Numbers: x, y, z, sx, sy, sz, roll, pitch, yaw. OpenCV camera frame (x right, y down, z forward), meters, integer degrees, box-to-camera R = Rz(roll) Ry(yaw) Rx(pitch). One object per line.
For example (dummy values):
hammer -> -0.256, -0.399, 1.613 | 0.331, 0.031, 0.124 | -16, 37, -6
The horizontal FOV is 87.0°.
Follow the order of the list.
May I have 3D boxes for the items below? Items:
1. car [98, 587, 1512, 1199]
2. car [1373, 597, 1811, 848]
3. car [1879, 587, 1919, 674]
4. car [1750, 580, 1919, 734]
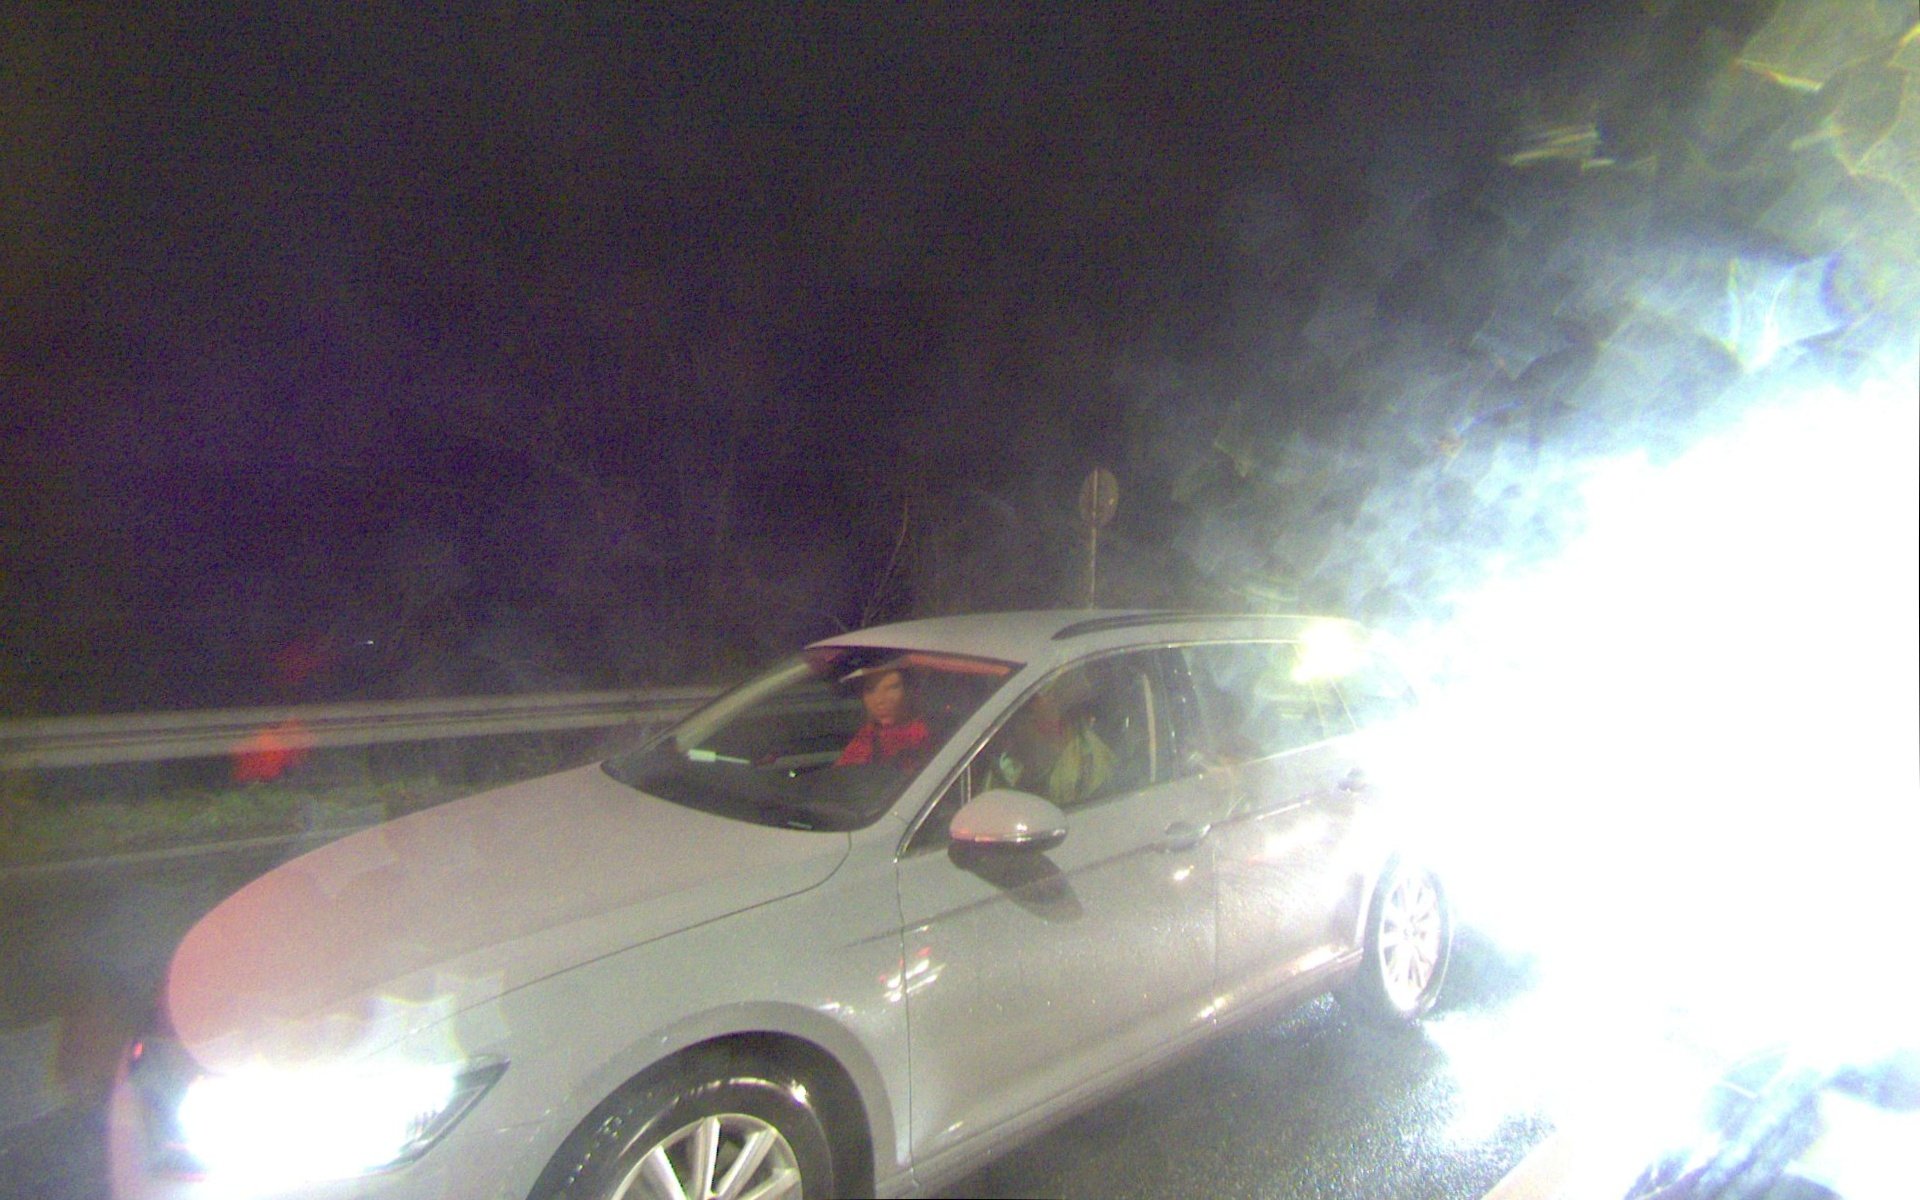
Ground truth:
car -> 0.026, 0.735, 3.341 | 4.336, 1.541, 1.710 | -1, 0, -40
car -> 5.091, 0.717, 7.933 | 4.066, 1.435, 1.742 | -1, 0, -40
car -> 19.847, 0.566, 19.993 | 4.315, 1.618, 1.997 | -1, 2, -41
car -> 11.519, 0.586, 12.472 | 4.315, 1.618, 1.997 | -1, 2, -41
